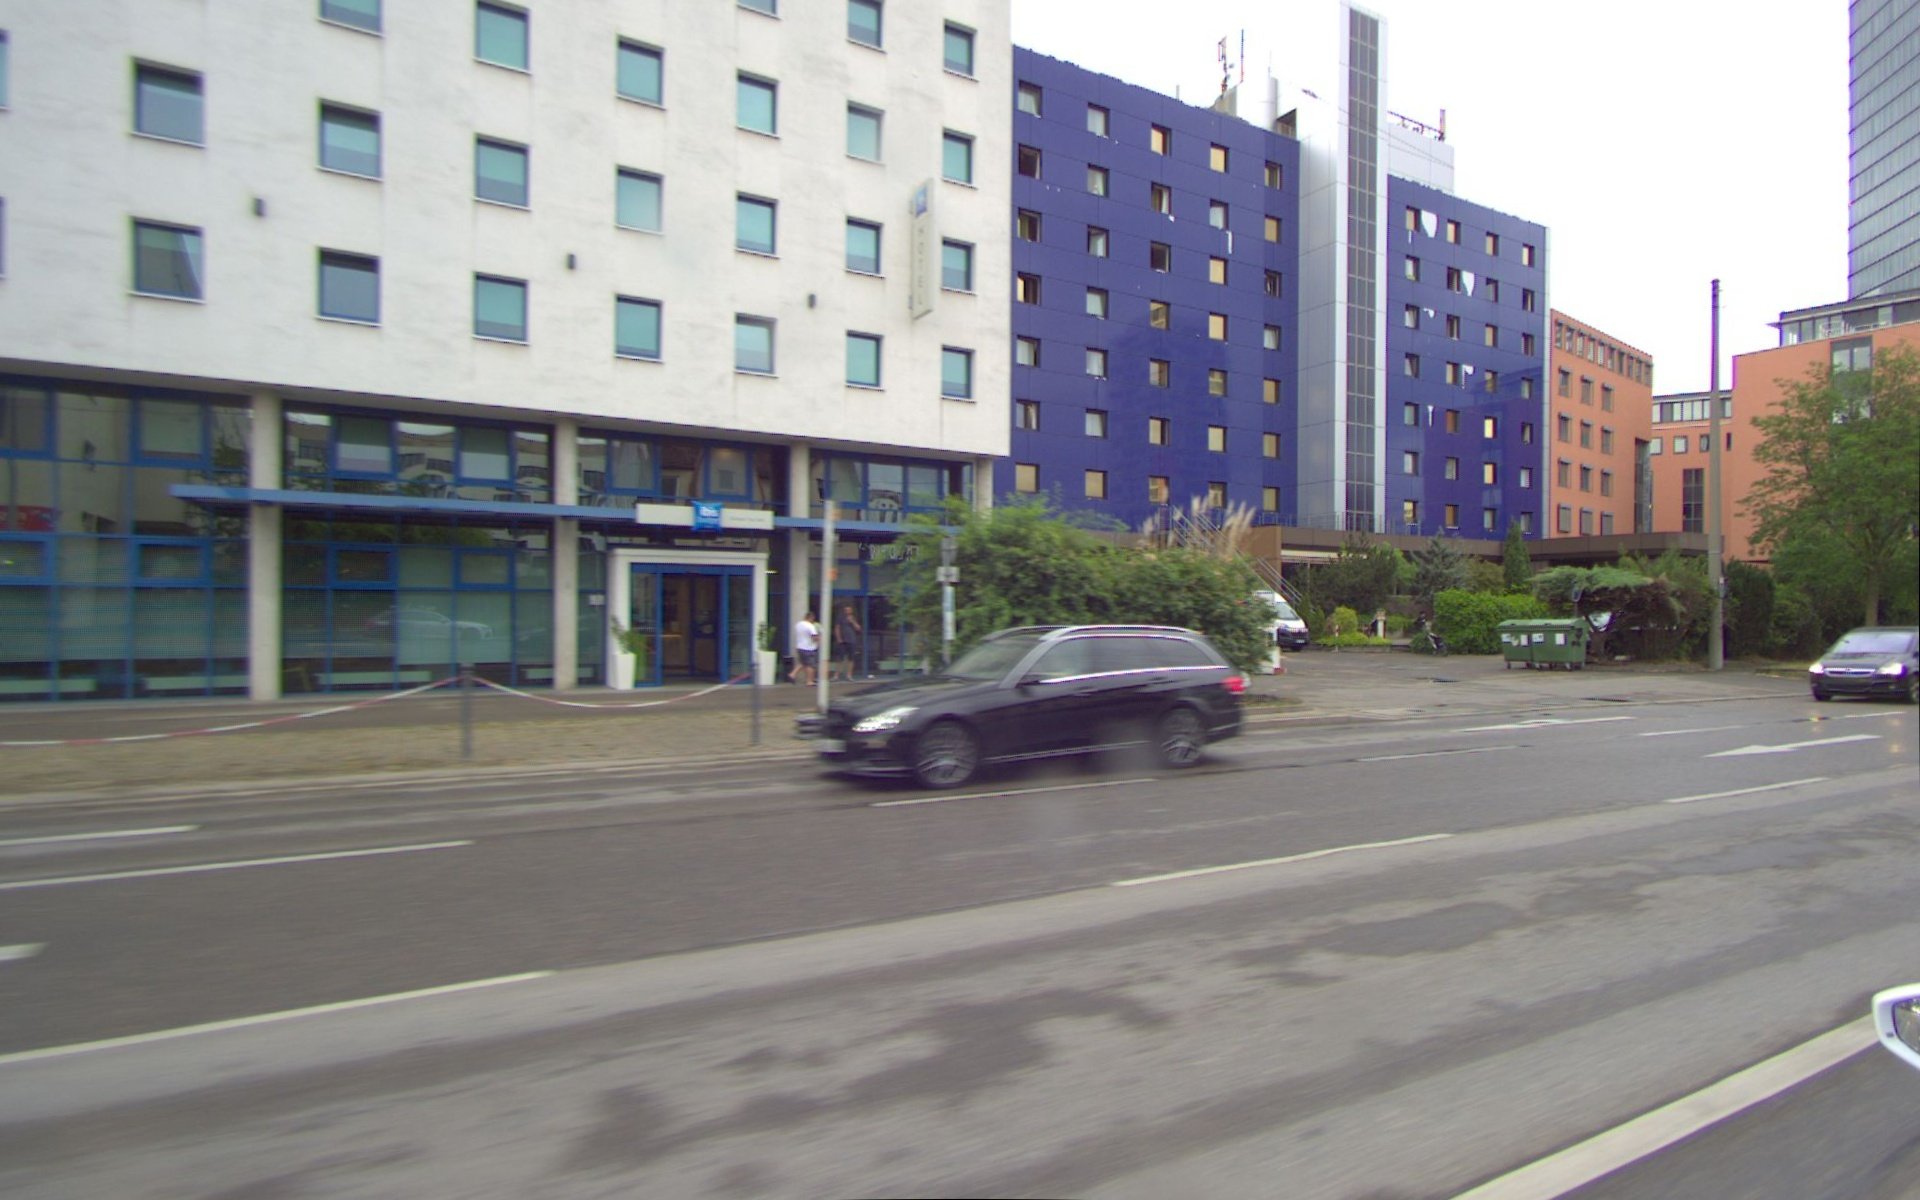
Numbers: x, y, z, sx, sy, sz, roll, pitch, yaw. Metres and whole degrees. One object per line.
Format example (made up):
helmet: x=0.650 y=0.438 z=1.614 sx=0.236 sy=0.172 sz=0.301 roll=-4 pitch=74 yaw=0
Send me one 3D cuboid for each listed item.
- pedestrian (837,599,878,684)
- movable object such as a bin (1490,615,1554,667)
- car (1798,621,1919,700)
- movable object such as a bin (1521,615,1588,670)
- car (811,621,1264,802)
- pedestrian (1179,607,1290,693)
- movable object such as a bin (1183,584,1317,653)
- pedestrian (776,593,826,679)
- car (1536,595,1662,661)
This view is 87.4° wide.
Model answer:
pedestrian: x=-2.515 y=1.031 z=24.849 sx=0.883 sy=2.039 sz=0.815 roll=1 pitch=-3 yaw=0
movable object such as a bin: x=16.698 y=1.234 z=29.880 sx=0.936 sy=1.510 sz=1.389 roll=2 pitch=-4 yaw=-18
car: x=20.401 y=1.283 z=22.103 sx=3.986 sy=1.586 sz=1.701 roll=0 pitch=-3 yaw=-30
movable object such as a bin: x=16.733 y=1.212 z=28.275 sx=0.943 sy=1.510 sz=1.379 roll=4 pitch=-4 yaw=-39
car: x=0.913 y=1.032 z=10.710 sx=4.642 sy=1.496 sz=1.726 roll=-1 pitch=-2 yaw=-30
pedestrian: x=5.961 y=1.042 z=21.991 sx=1.665 sy=1.743 sz=1.996 roll=0 pitch=1 yaw=-10
movable object such as a bin: x=12.159 y=0.885 z=42.510 sx=2.136 sy=2.662 sz=5.602 roll=3 pitch=-4 yaw=-29
pedestrian: x=-3.824 y=0.882 z=24.199 sx=0.801 sy=2.039 sz=0.803 roll=-1 pitch=-4 yaw=33
car: x=21.519 y=0.993 z=33.808 sx=4.265 sy=2.039 sz=1.828 roll=3 pitch=-4 yaw=-30
